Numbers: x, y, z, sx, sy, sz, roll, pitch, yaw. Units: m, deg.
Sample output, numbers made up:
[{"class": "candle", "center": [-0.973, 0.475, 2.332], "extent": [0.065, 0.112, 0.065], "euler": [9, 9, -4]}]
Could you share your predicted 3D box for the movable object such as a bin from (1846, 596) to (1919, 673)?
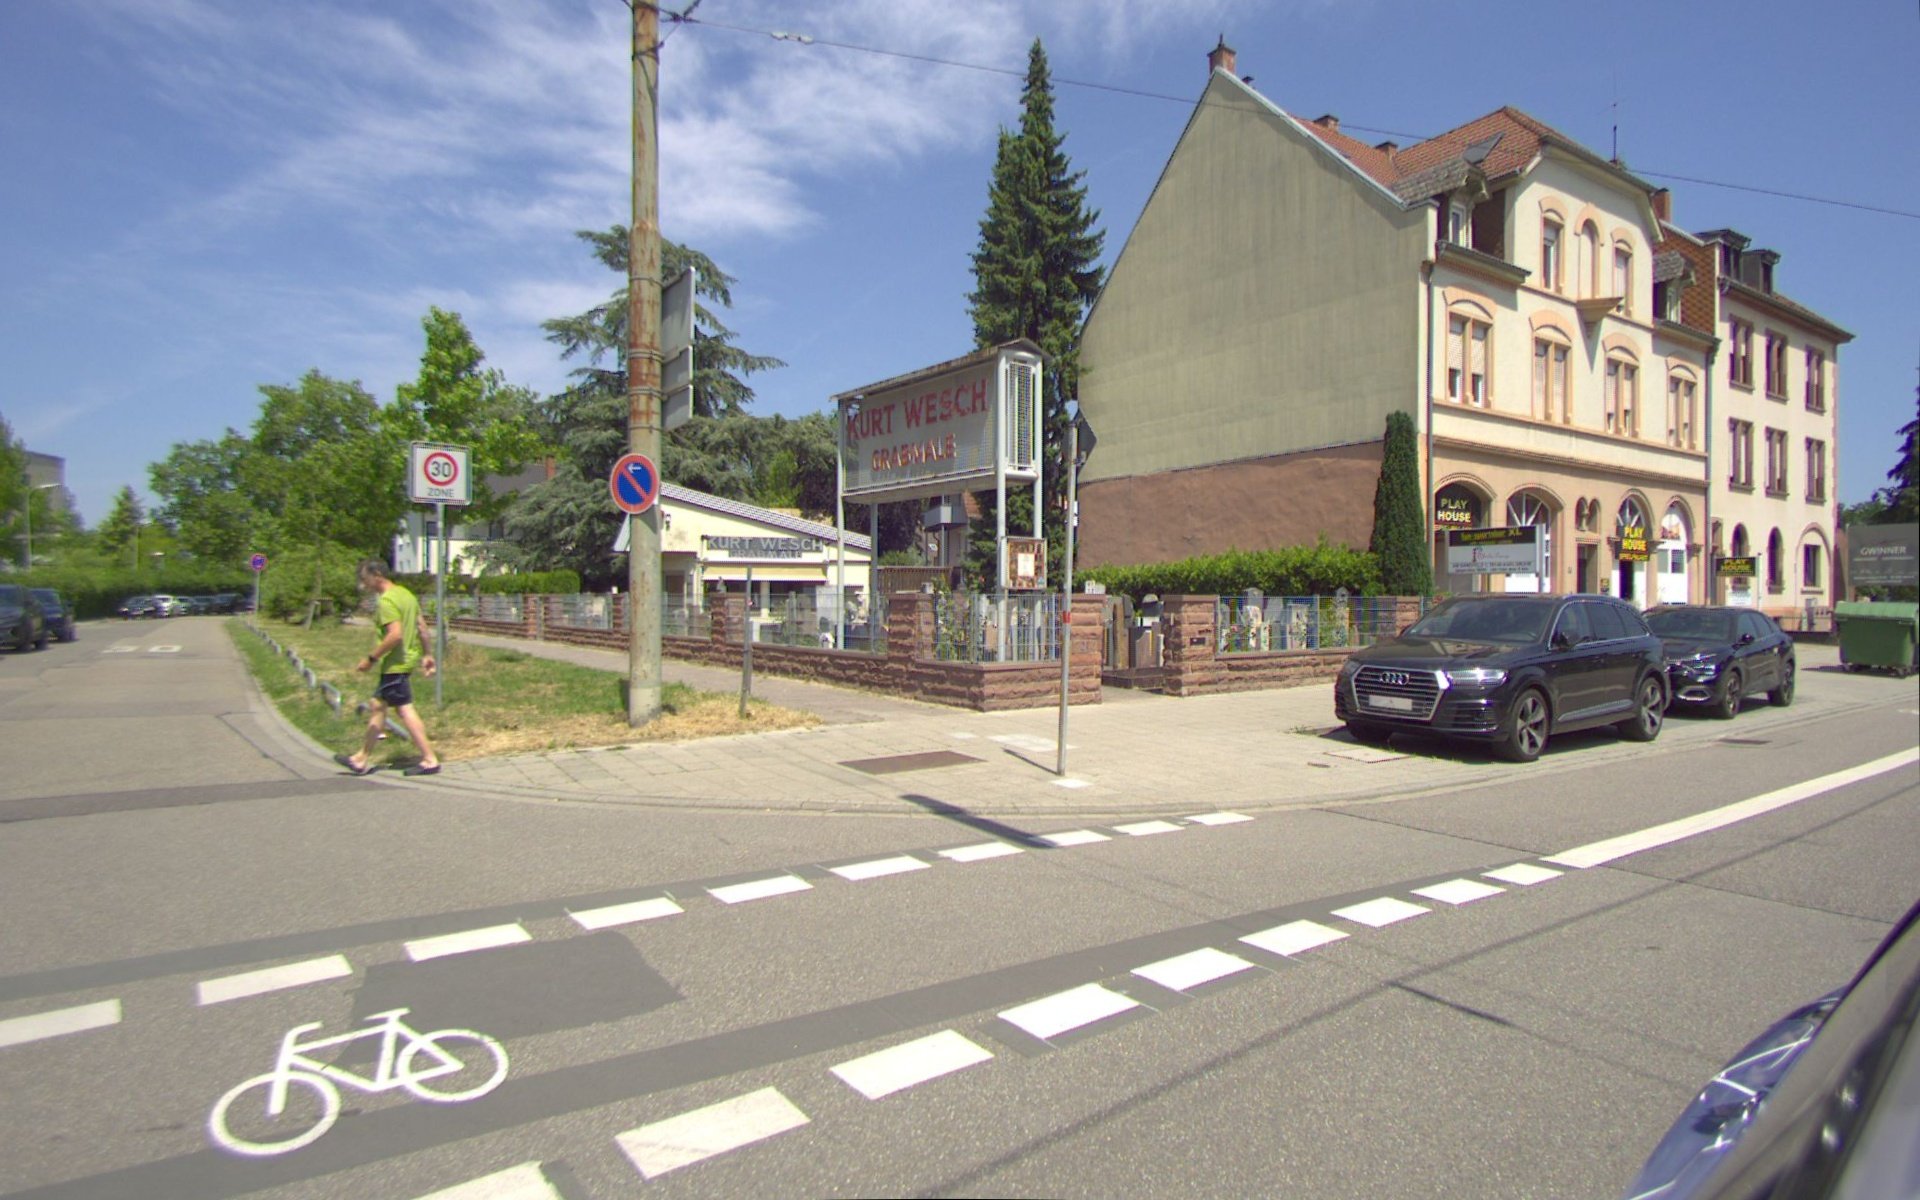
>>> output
[{"class": "movable object such as a bin", "center": [18.998, 0.677, 20.567], "extent": [1.039, 1.473, 1.326], "euler": [0, 2, -40]}]

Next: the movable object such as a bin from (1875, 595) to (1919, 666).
[{"class": "movable object such as a bin", "center": [20.732, 0.662, 21.770], "extent": [1.119, 1.473, 1.395], "euler": [0, 2, -40]}]

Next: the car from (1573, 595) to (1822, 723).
[{"class": "car", "center": [11.097, 0.757, 15.124], "extent": [4.384, 1.567, 1.778], "euler": [-1, 2, -37]}]

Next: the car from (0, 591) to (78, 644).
[{"class": "car", "center": [-28.001, 0.484, 30.563], "extent": [1.735, 1.514, 4.160], "euler": [0, 0, -37]}]

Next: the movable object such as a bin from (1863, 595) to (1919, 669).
[{"class": "movable object such as a bin", "center": [19.842, 0.655, 21.174], "extent": [1.039, 1.473, 1.250], "euler": [0, 2, -40]}]

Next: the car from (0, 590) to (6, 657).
[{"class": "car", "center": [-20.277, 0.511, 19.863], "extent": [1.735, 1.427, 4.463], "euler": [0, 0, -37]}]

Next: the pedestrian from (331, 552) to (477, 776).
[{"class": "pedestrian", "center": [-4.488, 0.484, 8.179], "extent": [0.834, 1.688, 0.726], "euler": [-1, -1, 33]}]

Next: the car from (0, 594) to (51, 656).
[{"class": "car", "center": [-23.480, 0.559, 24.544], "extent": [1.735, 1.427, 4.160], "euler": [0, 0, -37]}]

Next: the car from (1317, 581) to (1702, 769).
[{"class": "car", "center": [6.467, 0.679, 11.674], "extent": [4.986, 1.714, 1.931], "euler": [0, 2, -36]}]
